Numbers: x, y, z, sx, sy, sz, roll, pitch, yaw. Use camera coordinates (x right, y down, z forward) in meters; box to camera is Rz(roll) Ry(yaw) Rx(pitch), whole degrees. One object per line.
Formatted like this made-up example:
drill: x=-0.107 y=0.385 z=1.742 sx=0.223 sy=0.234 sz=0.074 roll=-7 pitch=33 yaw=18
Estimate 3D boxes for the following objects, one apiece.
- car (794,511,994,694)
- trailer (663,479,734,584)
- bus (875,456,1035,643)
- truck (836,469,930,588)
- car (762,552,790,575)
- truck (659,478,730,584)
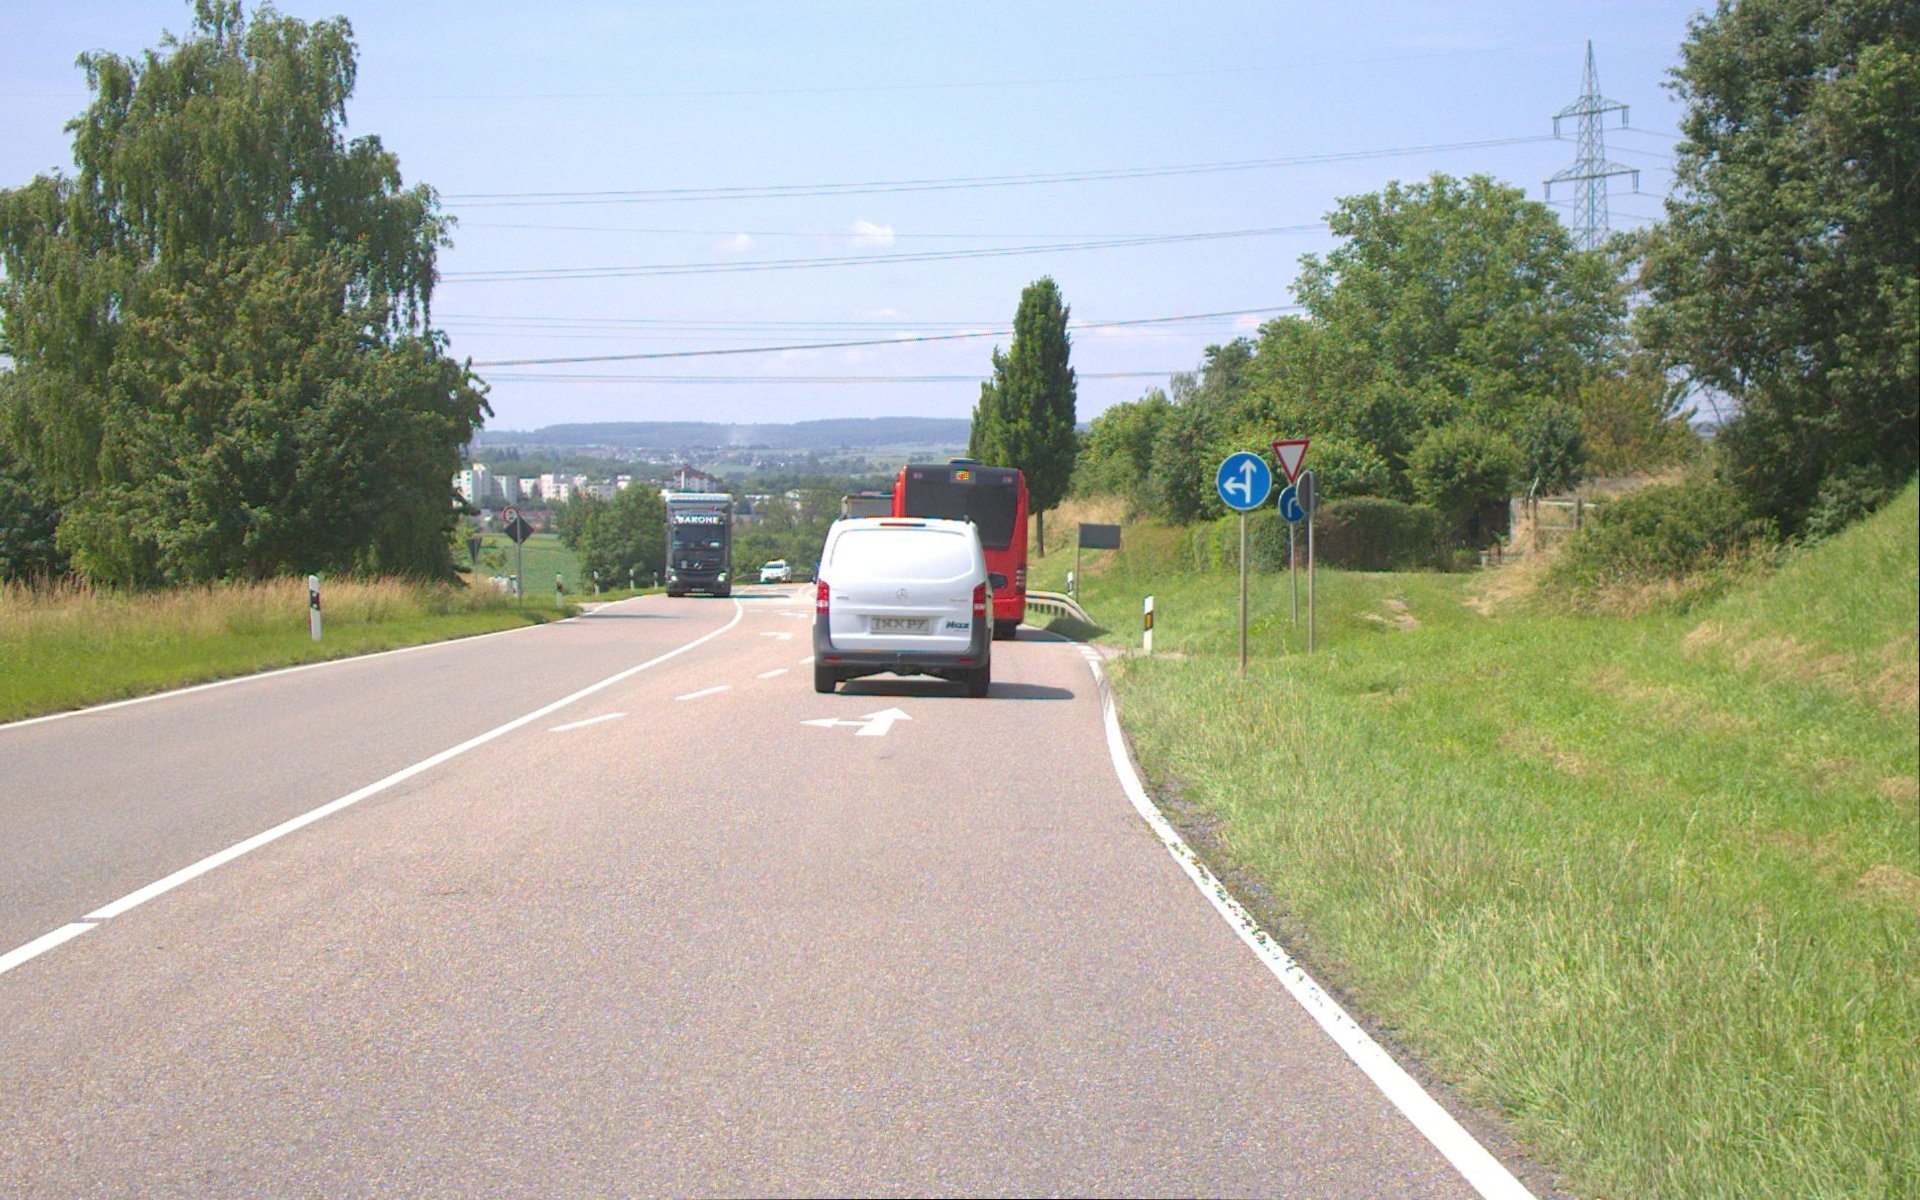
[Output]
car: x=-0.664 y=-0.018 z=37.812 sx=1.923 sy=1.883 sz=4.000 roll=-1 pitch=1 yaw=3
trailer: x=-10.817 y=-2.791 z=143.118 sx=2.592 sy=4.128 sz=13.743 roll=1 pitch=1 yaw=-3
bus: x=-0.257 y=-1.198 z=69.644 sx=2.747 sy=3.341 sz=13.224 roll=-2 pitch=2 yaw=-2
truck: x=-3.085 y=-2.815 z=136.818 sx=3.488 sy=4.408 sz=14.904 roll=-1 pitch=1 yaw=-1
car: x=-13.083 y=-2.610 z=244.822 sx=1.853 sy=1.560 sz=4.075 roll=-1 pitch=1 yaw=-2
truck: x=-10.480 y=-2.718 z=136.154 sx=2.585 sy=4.090 sz=5.442 roll=1 pitch=1 yaw=-3
